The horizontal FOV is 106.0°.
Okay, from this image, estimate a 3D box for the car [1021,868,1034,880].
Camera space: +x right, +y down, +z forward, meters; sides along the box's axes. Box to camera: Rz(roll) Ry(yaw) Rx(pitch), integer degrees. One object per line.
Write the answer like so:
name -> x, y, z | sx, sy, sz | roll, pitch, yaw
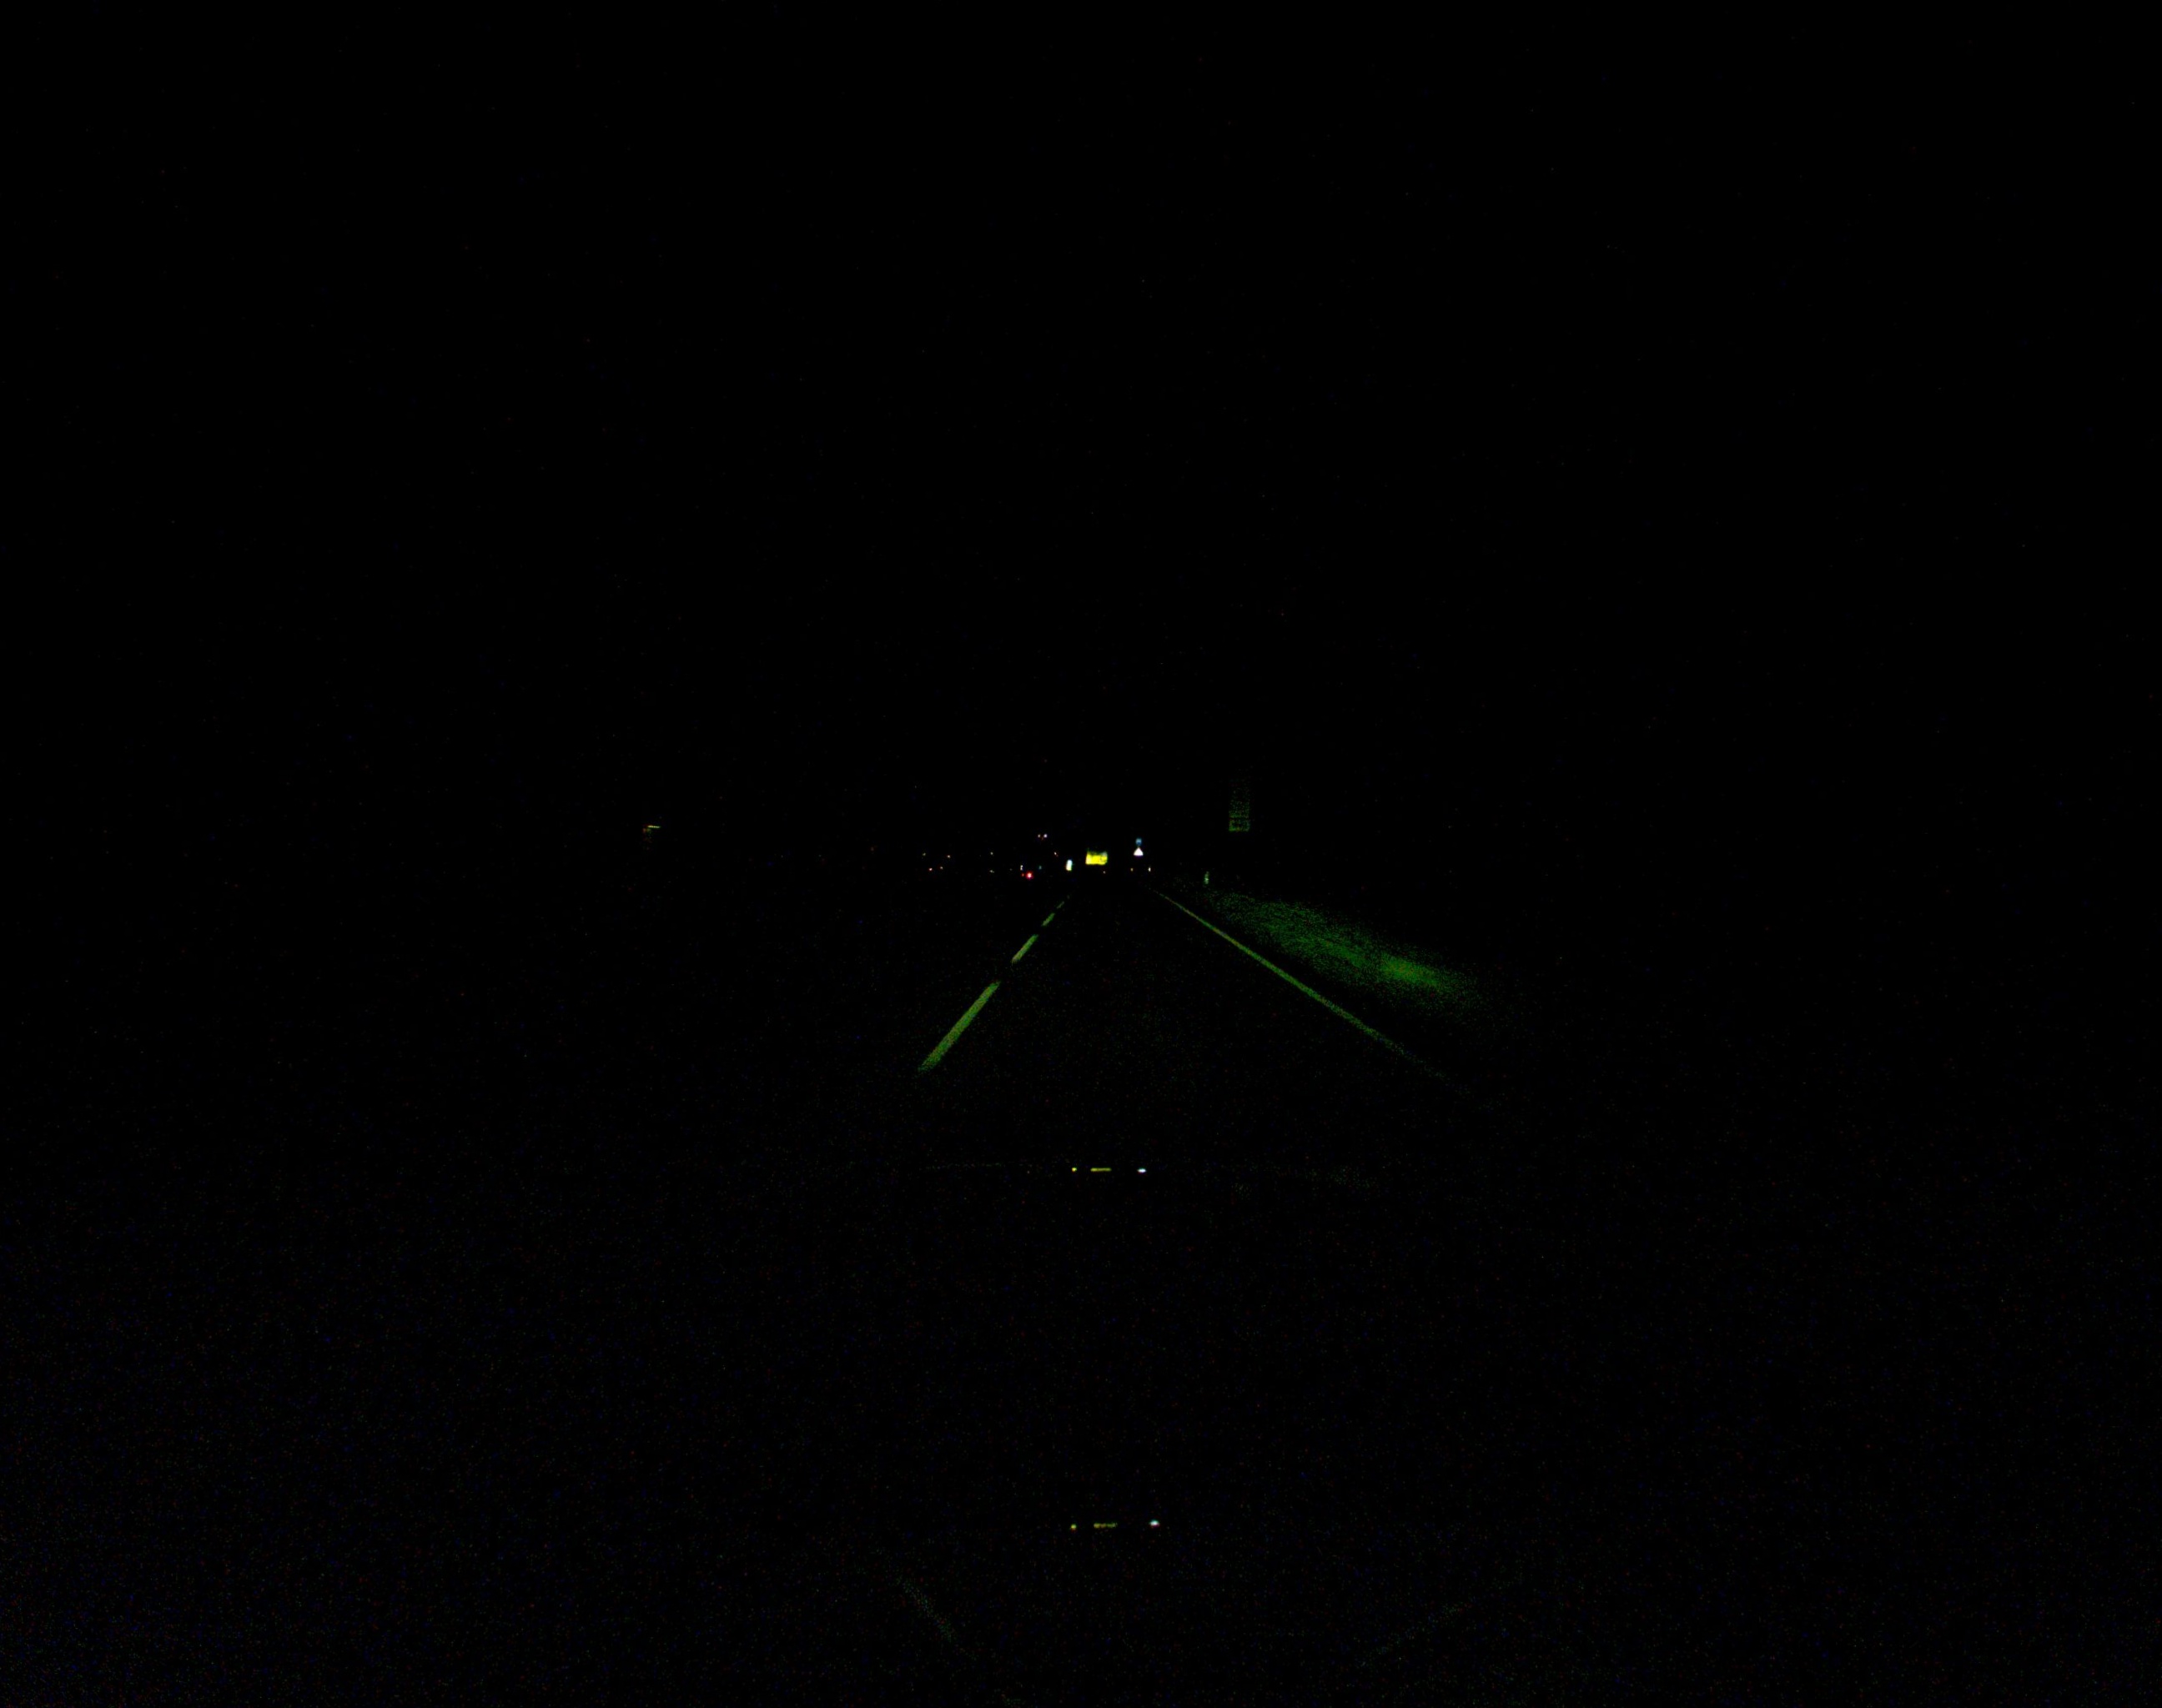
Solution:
car -> -9.784, 3.659, 148.918 | 1.992, 2.014, 3.988 | 3, -3, -8
